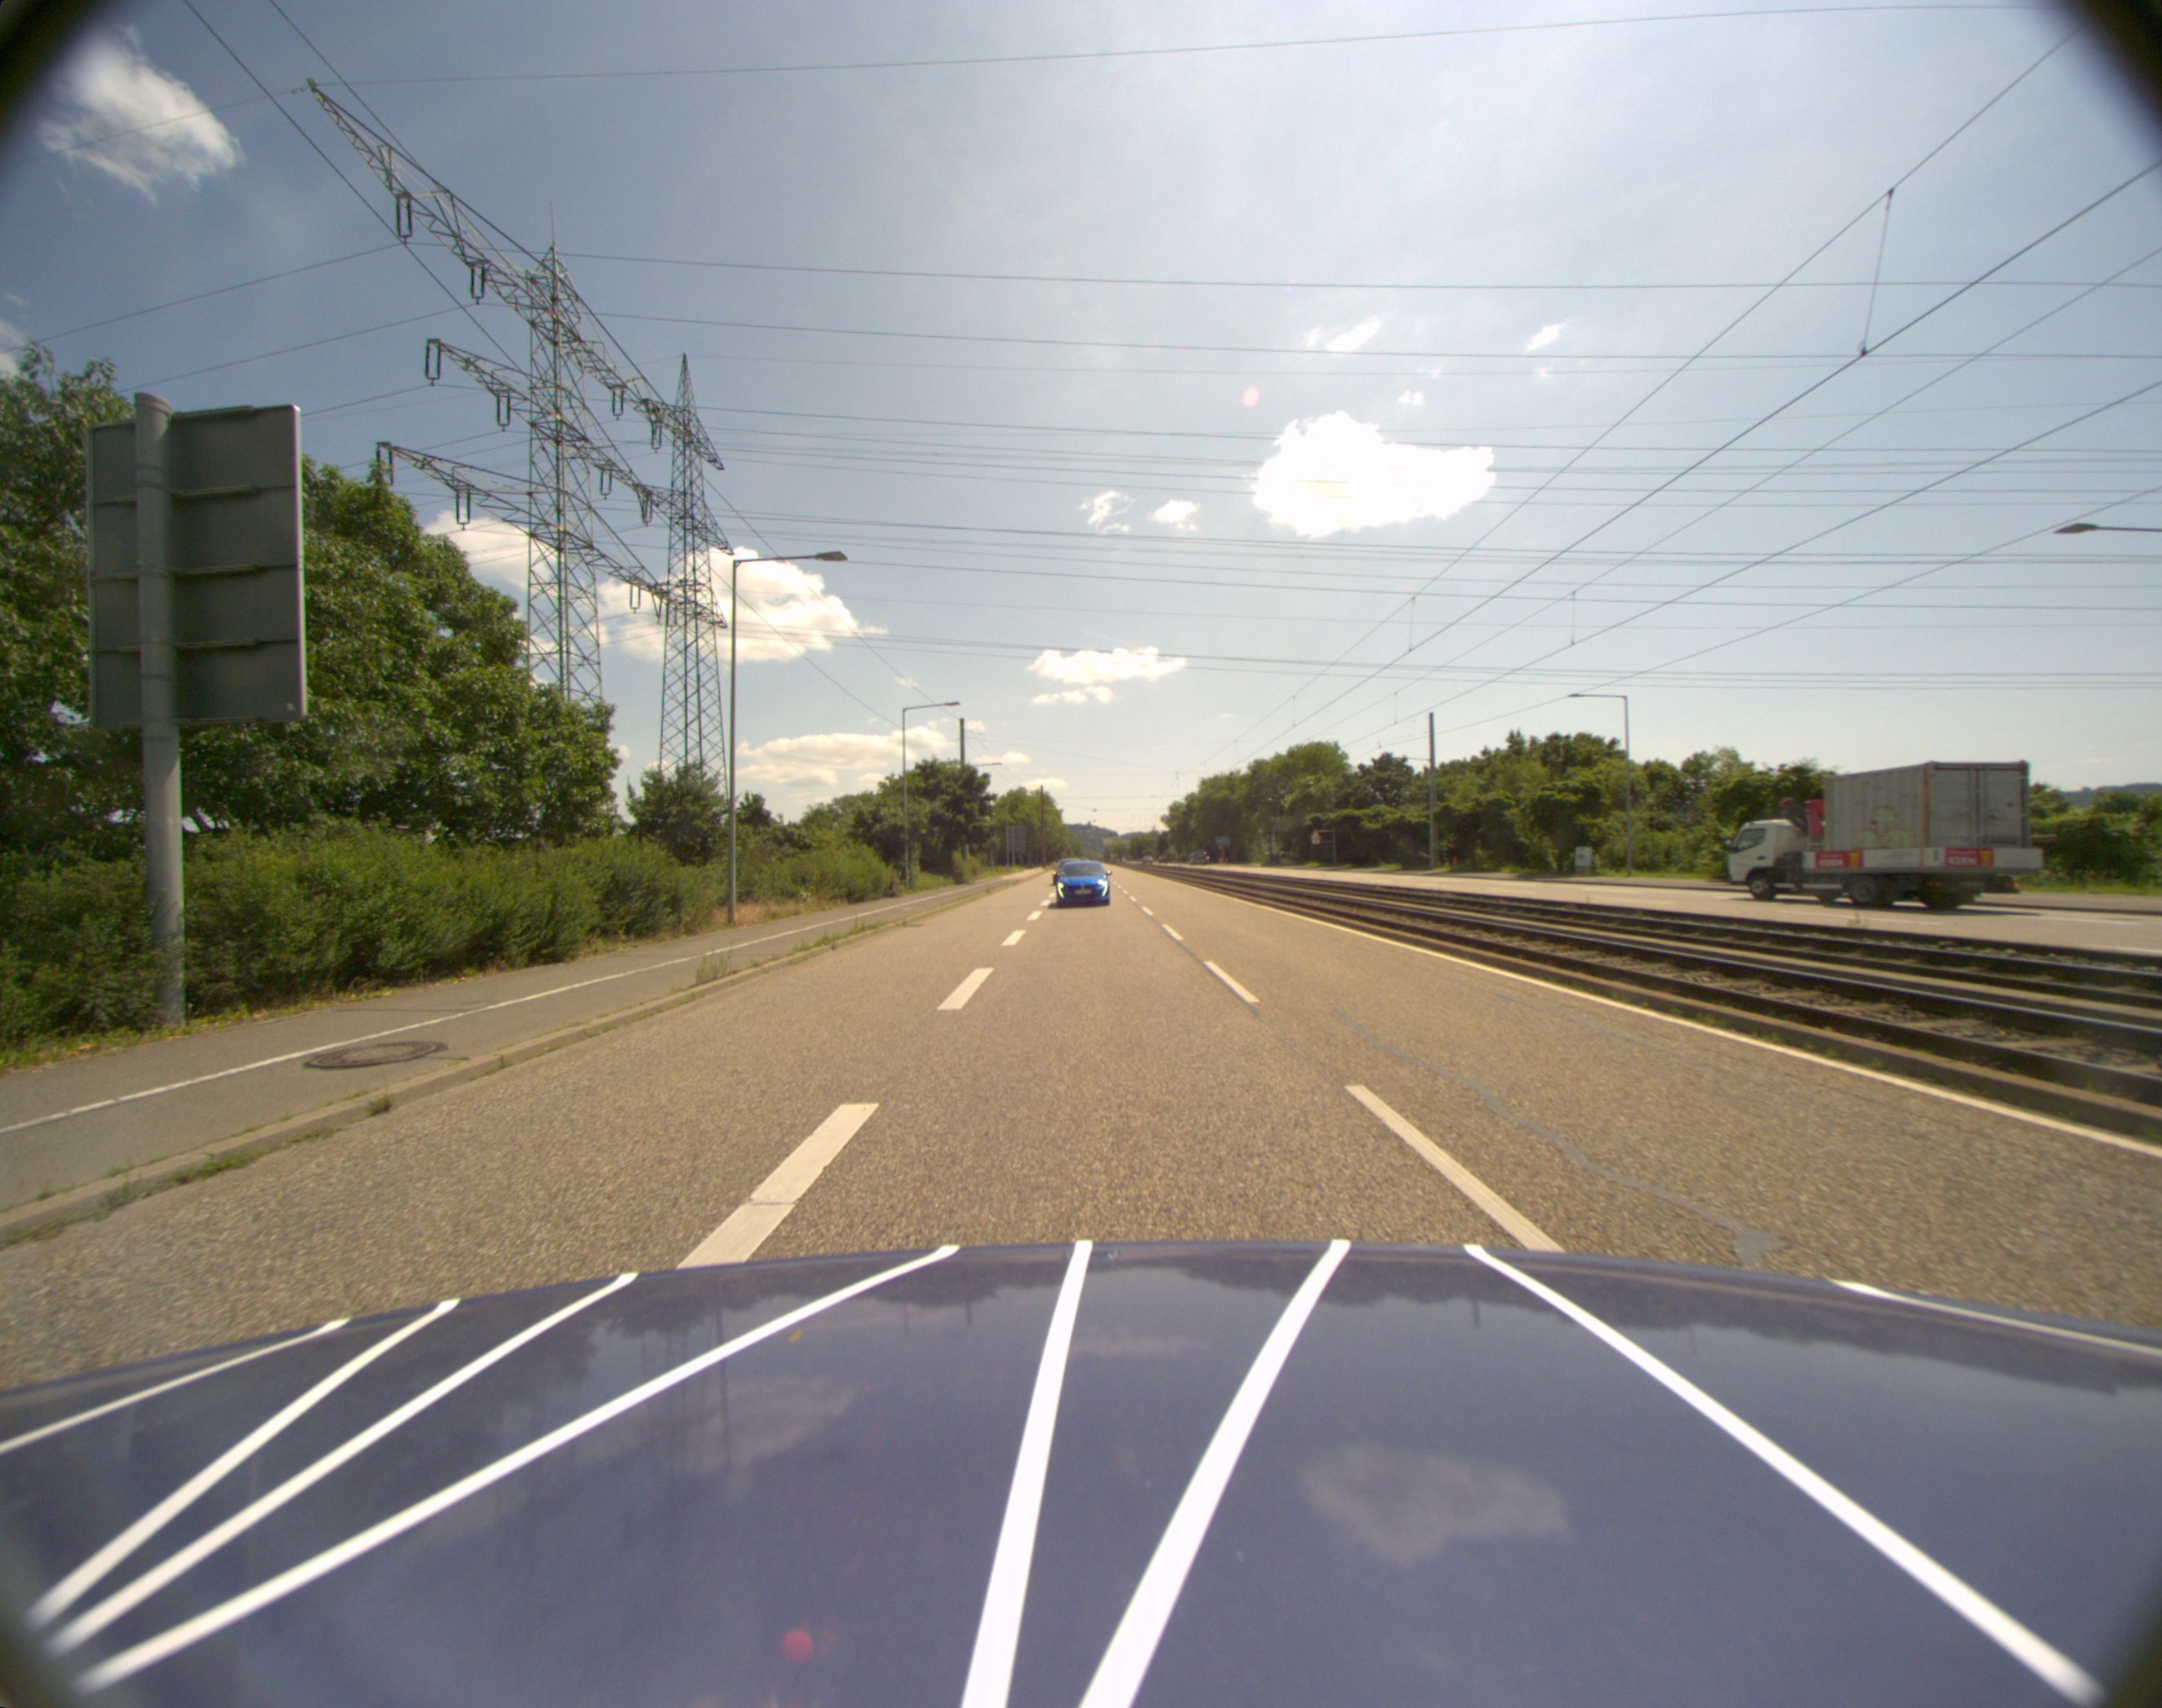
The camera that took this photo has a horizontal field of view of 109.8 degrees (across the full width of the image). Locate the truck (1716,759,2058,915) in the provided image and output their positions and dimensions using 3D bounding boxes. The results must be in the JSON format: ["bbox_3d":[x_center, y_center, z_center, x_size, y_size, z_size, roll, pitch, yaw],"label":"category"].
[{"bbox_3d":[19.469,-0.355,19.004,2.255,3.217,6.042,-1,0,2],"label":"truck"}]

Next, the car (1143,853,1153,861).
[{"bbox_3d":[14.488,0.676,163.542,1.806,1.616,4.494,0,0,0],"label":"car"}]

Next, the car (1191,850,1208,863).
[{"bbox_3d":[17.749,0.315,114.174,1.862,1.916,5.008,0,0,0],"label":"car"}]

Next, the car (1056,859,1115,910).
[{"bbox_3d":[0.152,0.956,25.735,1.771,1.463,4.467,-2,0,1],"label":"car"}]

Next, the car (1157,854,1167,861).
[{"bbox_3d":[18.194,0.782,170.779,1.806,1.616,4.211,0,0,0],"label":"car"}]

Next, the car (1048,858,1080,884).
[{"bbox_3d":[-0.991,1.004,46.351,1.771,1.422,4.000,-2,0,1],"label":"car"}]
